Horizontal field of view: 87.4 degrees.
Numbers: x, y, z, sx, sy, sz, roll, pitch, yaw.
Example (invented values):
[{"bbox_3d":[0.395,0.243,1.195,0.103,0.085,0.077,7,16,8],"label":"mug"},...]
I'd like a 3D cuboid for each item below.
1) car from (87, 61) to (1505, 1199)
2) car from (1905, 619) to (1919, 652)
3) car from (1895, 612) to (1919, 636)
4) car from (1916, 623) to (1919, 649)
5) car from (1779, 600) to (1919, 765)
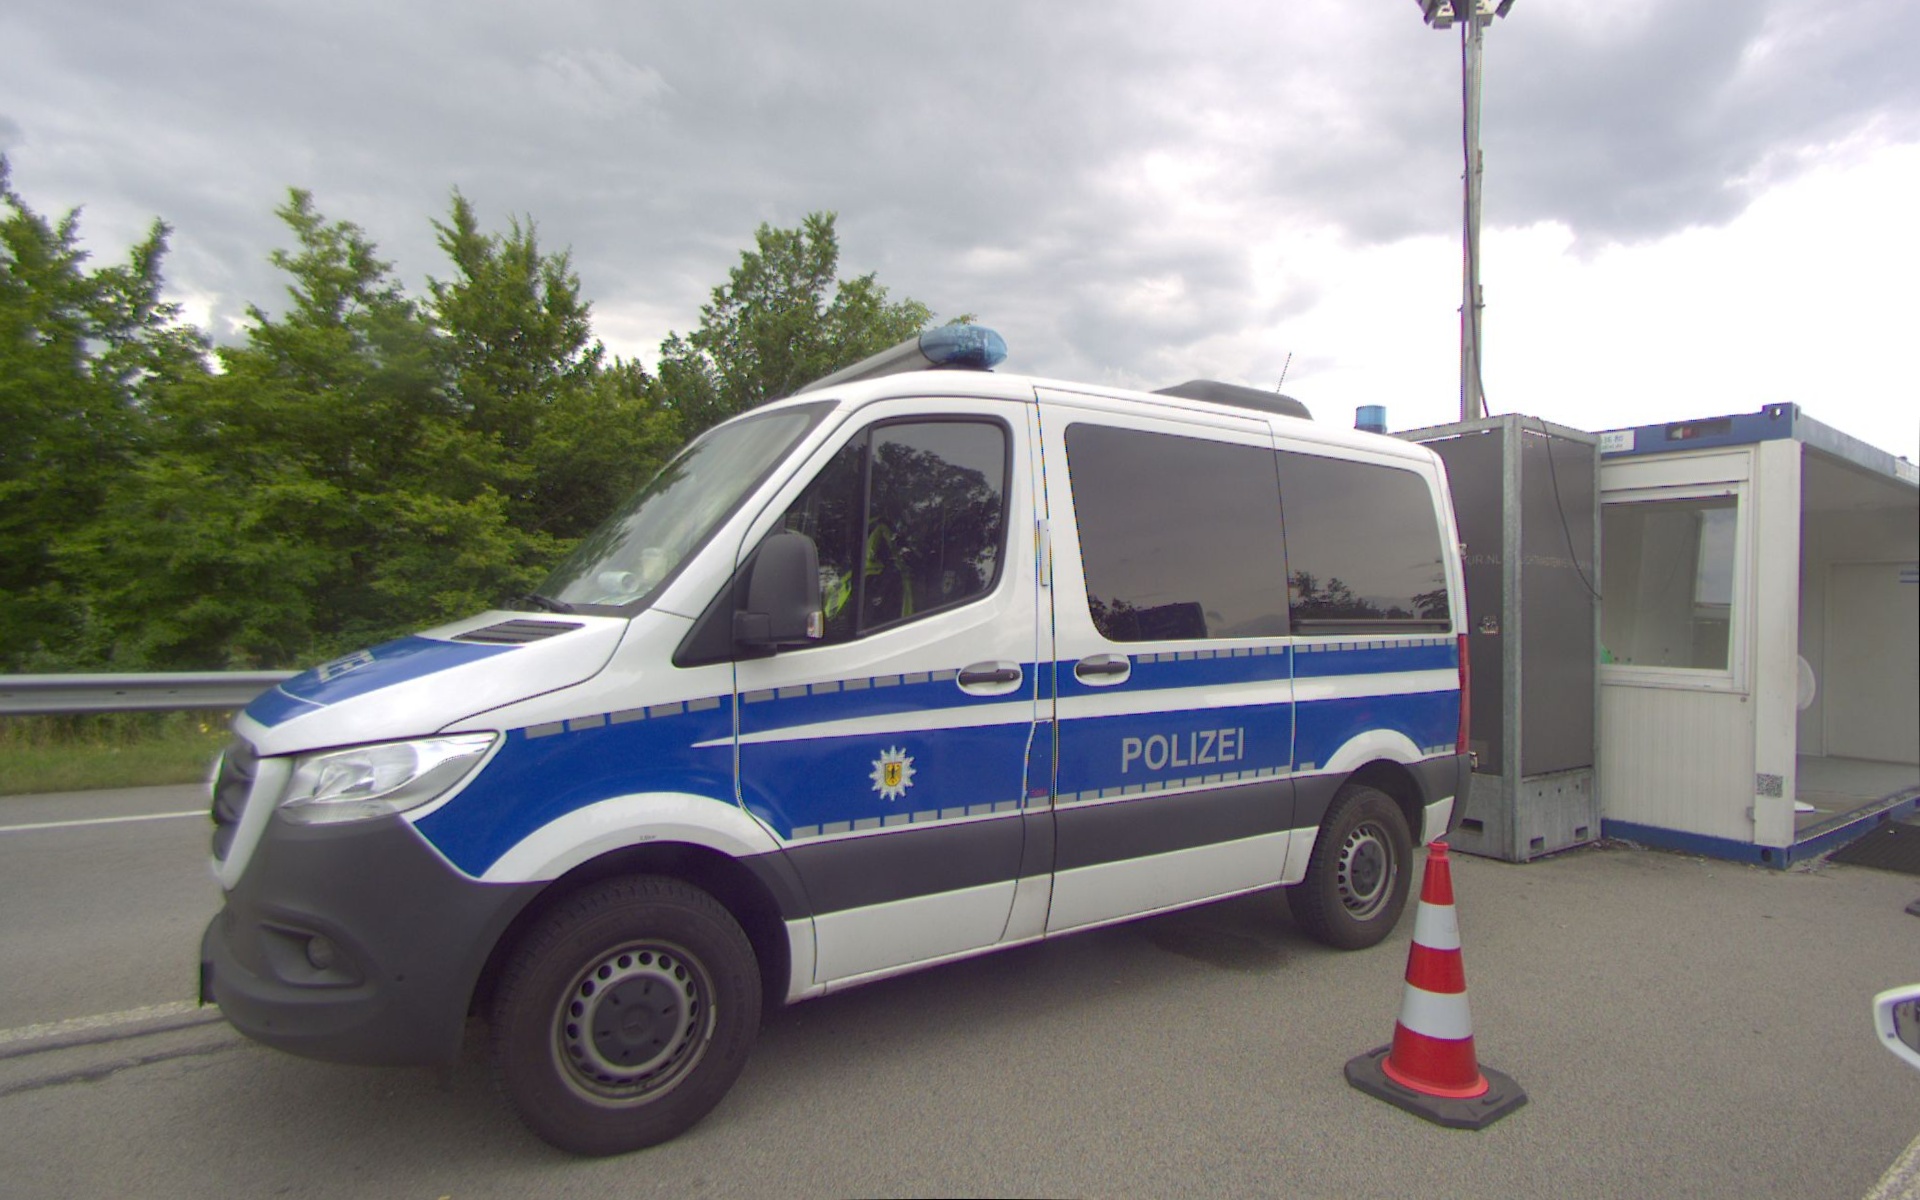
[{"bbox_3d":[-0.079,0.237,4.287,5.224,2.496,2.017,1,0,-34],"label":"car"},{"bbox_3d":[46.583,1.710,47.996,4.226,1.518,1.838,2,0,-43],"label":"car"},{"bbox_3d":[89.169,2.247,94.101,1.831,2.252,4.241,1,0,36],"label":"car"},{"bbox_3d":[57.643,2.118,59.223,1.836,1.518,4.231,1,-1,44],"label":"car"},{"bbox_3d":[11.833,0.932,12.204,3.967,1.767,1.857,1,0,-34],"label":"car"}]
